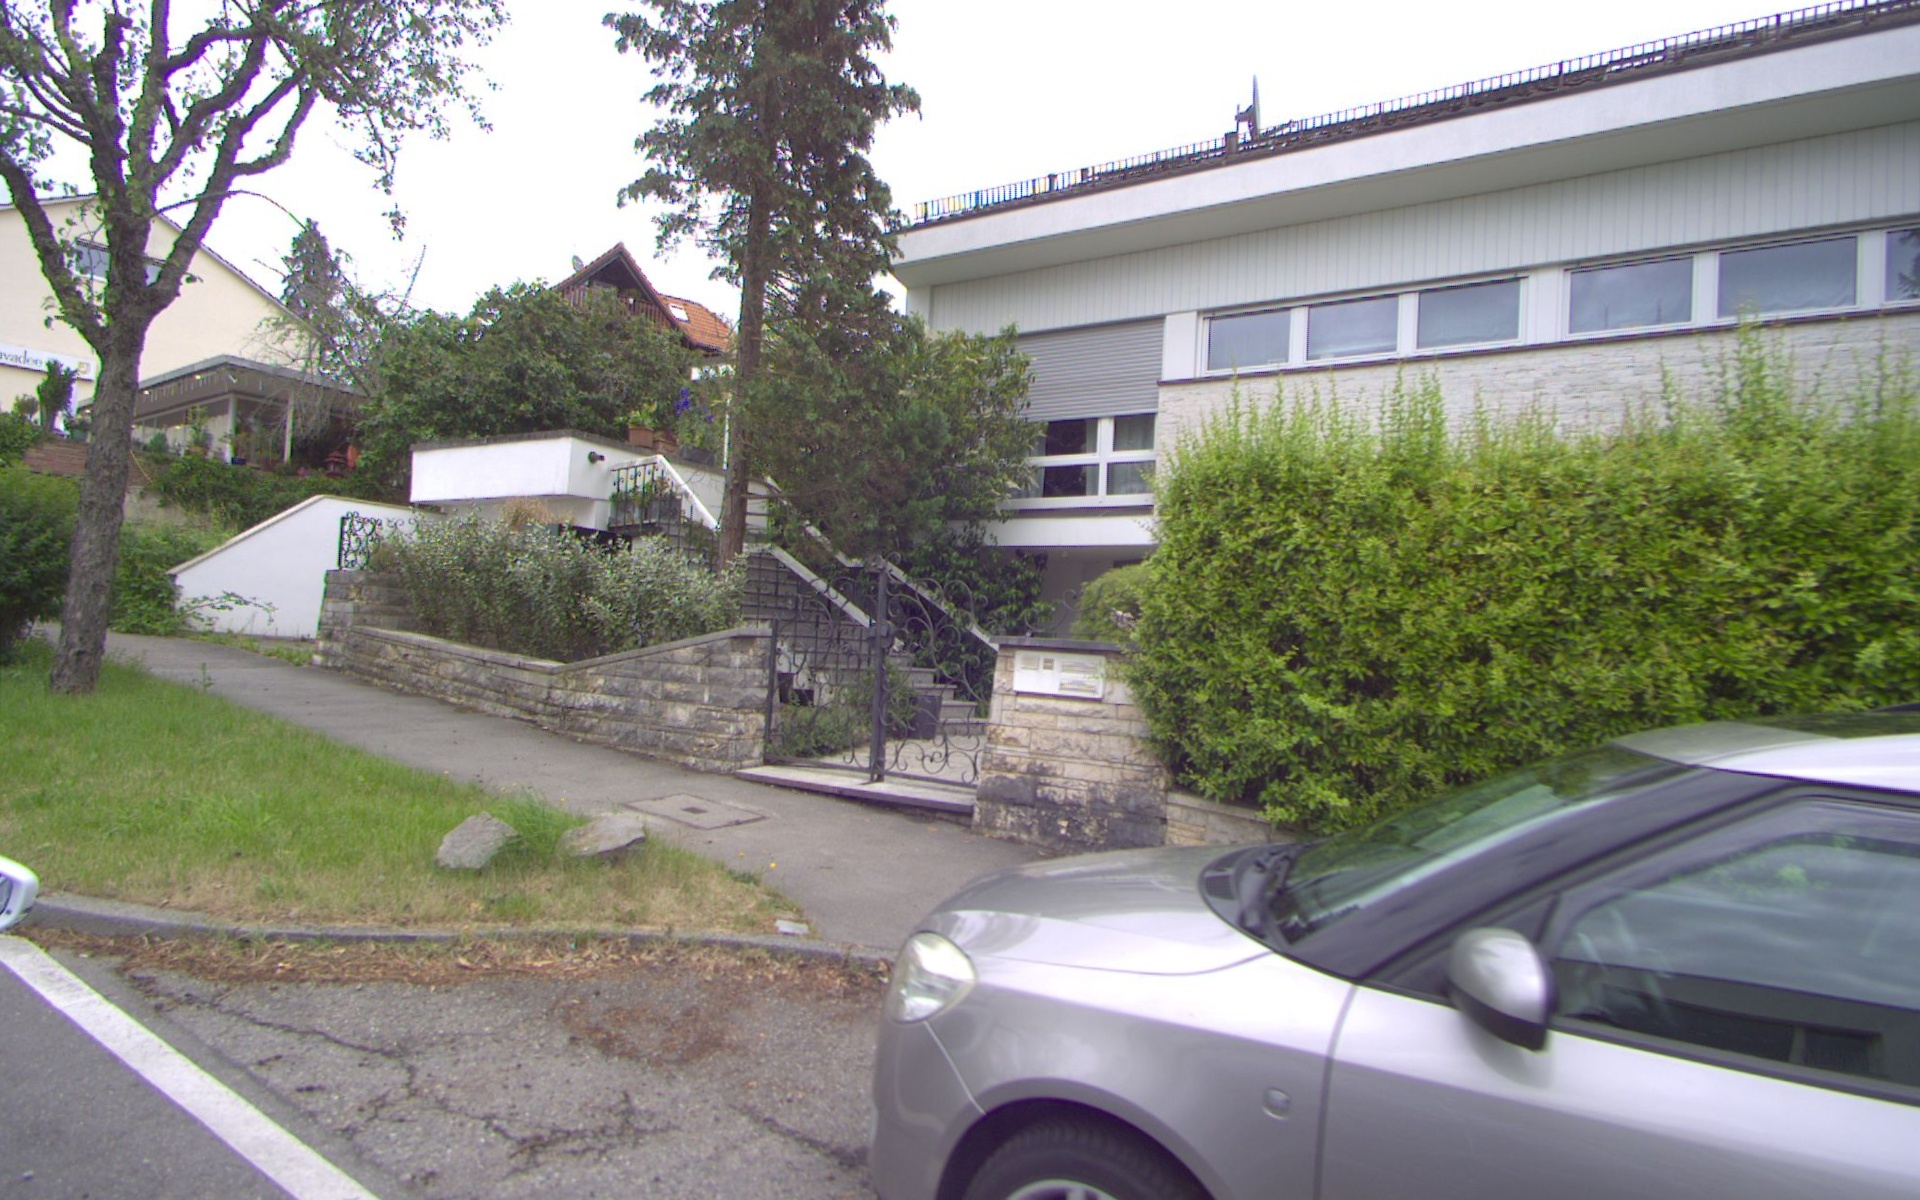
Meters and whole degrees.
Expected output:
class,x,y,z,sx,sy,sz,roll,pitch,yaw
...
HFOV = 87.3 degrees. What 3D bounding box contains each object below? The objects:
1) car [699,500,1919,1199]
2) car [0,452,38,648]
class,x,y,z,sx,sy,sz,roll,pitch,yaw
car,1.576,0.849,1.979,3.863,1.651,1.720,6,-2,32
car,-11.699,-0.753,10.286,5.132,1.861,1.938,6,0,32
